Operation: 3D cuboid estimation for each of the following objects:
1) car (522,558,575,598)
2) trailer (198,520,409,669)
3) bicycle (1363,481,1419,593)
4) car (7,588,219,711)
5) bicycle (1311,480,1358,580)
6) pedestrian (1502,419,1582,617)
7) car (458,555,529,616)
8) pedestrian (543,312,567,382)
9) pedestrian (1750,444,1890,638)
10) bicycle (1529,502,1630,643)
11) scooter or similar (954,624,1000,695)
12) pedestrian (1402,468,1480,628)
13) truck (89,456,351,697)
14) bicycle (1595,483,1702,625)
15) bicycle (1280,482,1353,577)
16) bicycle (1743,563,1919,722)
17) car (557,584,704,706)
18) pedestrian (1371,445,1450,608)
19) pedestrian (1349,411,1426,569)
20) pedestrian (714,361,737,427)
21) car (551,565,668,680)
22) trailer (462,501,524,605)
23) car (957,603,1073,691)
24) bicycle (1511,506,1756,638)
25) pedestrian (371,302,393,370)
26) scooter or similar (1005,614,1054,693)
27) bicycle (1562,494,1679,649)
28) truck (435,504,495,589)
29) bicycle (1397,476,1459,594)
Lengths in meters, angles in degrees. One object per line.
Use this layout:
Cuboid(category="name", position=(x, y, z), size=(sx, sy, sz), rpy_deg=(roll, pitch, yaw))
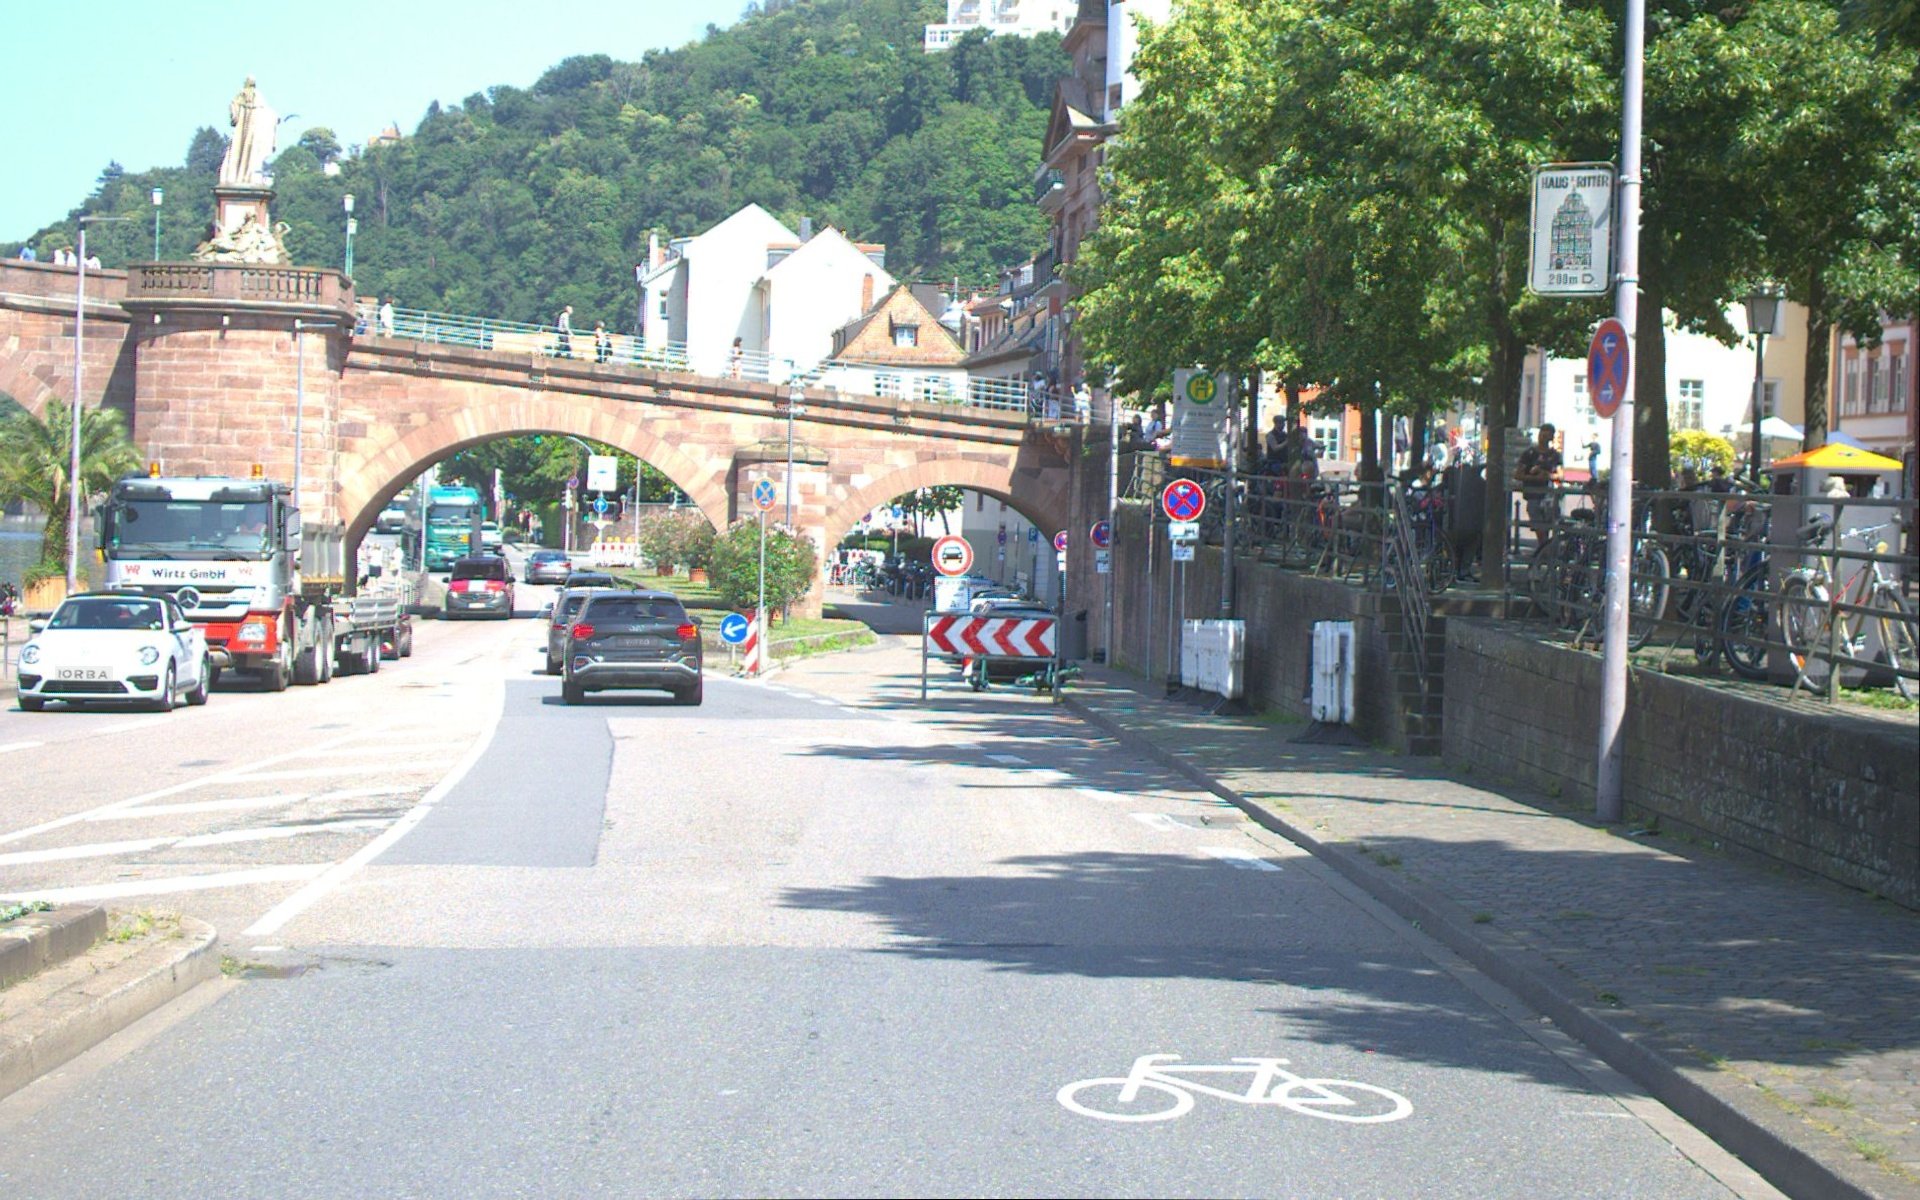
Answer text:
Cuboid(category="car", position=(-17.095, -0.918, 142.666), size=(1.855, 1.656, 4.001), rpy_deg=(0, 1, -12))
Cuboid(category="trailer", position=(-11.629, -0.084, 61.482), size=(2.697, 2.522, 6.947), rpy_deg=(0, 0, -2))
Cuboid(category="bicycle", position=(4.375, -0.634, 34.952), size=(0.410, 1.102, 1.734), rpy_deg=(1, 0, 3))
Cuboid(category="car", position=(-10.522, 0.593, 42.959), size=(1.777, 1.439, 3.998), rpy_deg=(1, 0, -2))
Cuboid(category="bicycle", position=(4.253, -0.786, 39.102), size=(0.410, 1.102, 1.734), rpy_deg=(1, 0, 3))
Cuboid(category="pedestrian", position=(6.482, -0.907, 38.303), size=(0.718, 2.181, 0.711), rpy_deg=(1, 0, -2))
Cuboid(category="car", position=(-14.297, -0.454, 105.549), size=(1.874, 1.821, 4.545), rpy_deg=(0, 1, -4))
Cuboid(category="pedestrian", position=(-11.954, -7.452, 101.454), size=(0.623, 2.007, 0.695), rpy_deg=(1, 0, -4))
Cuboid(category="pedestrian", position=(5.720, -0.391, 22.887), size=(0.694, 1.260, 0.670), rpy_deg=(1, 0, -6))
Cuboid(category="bicycle", position=(4.572, -0.218, 25.452), size=(0.298, 1.001, 1.860), rpy_deg=(1, 1, -3))
Cuboid(category="scooter or similar", position=(0.273, 0.926, 54.004), size=(0.532, 1.086, 1.438), rpy_deg=(1, 0, 7))
Cuboid(category="pedestrian", position=(5.231, -0.565, 37.390), size=(0.718, 1.715, 0.573), rpy_deg=(1, 0, -2))
Cuboid(category="truck", position=(-11.274, -0.333, 53.085), size=(2.642, 3.445, 7.872), rpy_deg=(0, 0, -2))
Cuboid(category="bicycle", position=(5.720, -0.394, 28.628), size=(0.382, 1.136, 1.934), rpy_deg=(1, 1, -3))
Cuboid(category="bicycle", position=(4.252, -0.833, 41.079), size=(0.410, 1.102, 1.735), rpy_deg=(1, 0, -9))
Cuboid(category="bicycle", position=(4.609, 0.202, 18.096), size=(0.349, 0.781, 1.919), rpy_deg=(1, 1, -5))
Cuboid(category="car", position=(-4.413, 0.571, 46.085), size=(1.856, 1.518, 4.001), rpy_deg=(1, 0, -5))
Cuboid(category="pedestrian", position=(4.812, -0.781, 36.750), size=(0.718, 1.715, 0.573), rpy_deg=(1, 0, -2))
Cuboid(category="pedestrian", position=(4.722, -1.208, 37.989), size=(0.718, 1.715, 0.711), rpy_deg=(1, 0, -2))
Cuboid(category="pedestrian", position=(-7.327, -6.420, 107.365), size=(0.684, 2.007, 0.586), rpy_deg=(1, 0, -5))
Cuboid(category="car", position=(-6.413, 0.385, 63.202), size=(1.993, 2.007, 4.001), rpy_deg=(1, 0, -4))
Cuboid(category="trailer", position=(-15.068, -1.517, 110.995), size=(1.741, 3.309, 3.384), rpy_deg=(0, 1, -4))
Cuboid(category="car", position=(0.955, 0.821, 62.161), size=(1.842, 1.445, 4.535), rpy_deg=(2, 0, -2))
Cuboid(category="bicycle", position=(5.277, -0.218, 26.944), size=(1.853, 1.001, 0.299), rpy_deg=(1, 1, -4))
Cuboid(category="pedestrian", position=(-17.611, -8.029, 104.703), size=(0.581, 2.007, 0.586), rpy_deg=(1, 0, -5))
Cuboid(category="scooter or similar", position=(1.096, 0.834, 54.096), size=(0.532, 1.226, 1.270), rpy_deg=(1, 0, 12))
Cuboid(category="bicycle", position=(4.462, -0.205, 23.309), size=(0.298, 1.001, 1.941), rpy_deg=(1, 1, -3))
Cuboid(category="truck", position=(-22.367, -2.455, 155.588), size=(2.523, 3.735, 6.248), rpy_deg=(0, 2, -7))
Cuboid(category="bicycle", position=(4.518, -0.620, 33.263), size=(0.410, 1.102, 1.924), rpy_deg=(1, 0, 3))
